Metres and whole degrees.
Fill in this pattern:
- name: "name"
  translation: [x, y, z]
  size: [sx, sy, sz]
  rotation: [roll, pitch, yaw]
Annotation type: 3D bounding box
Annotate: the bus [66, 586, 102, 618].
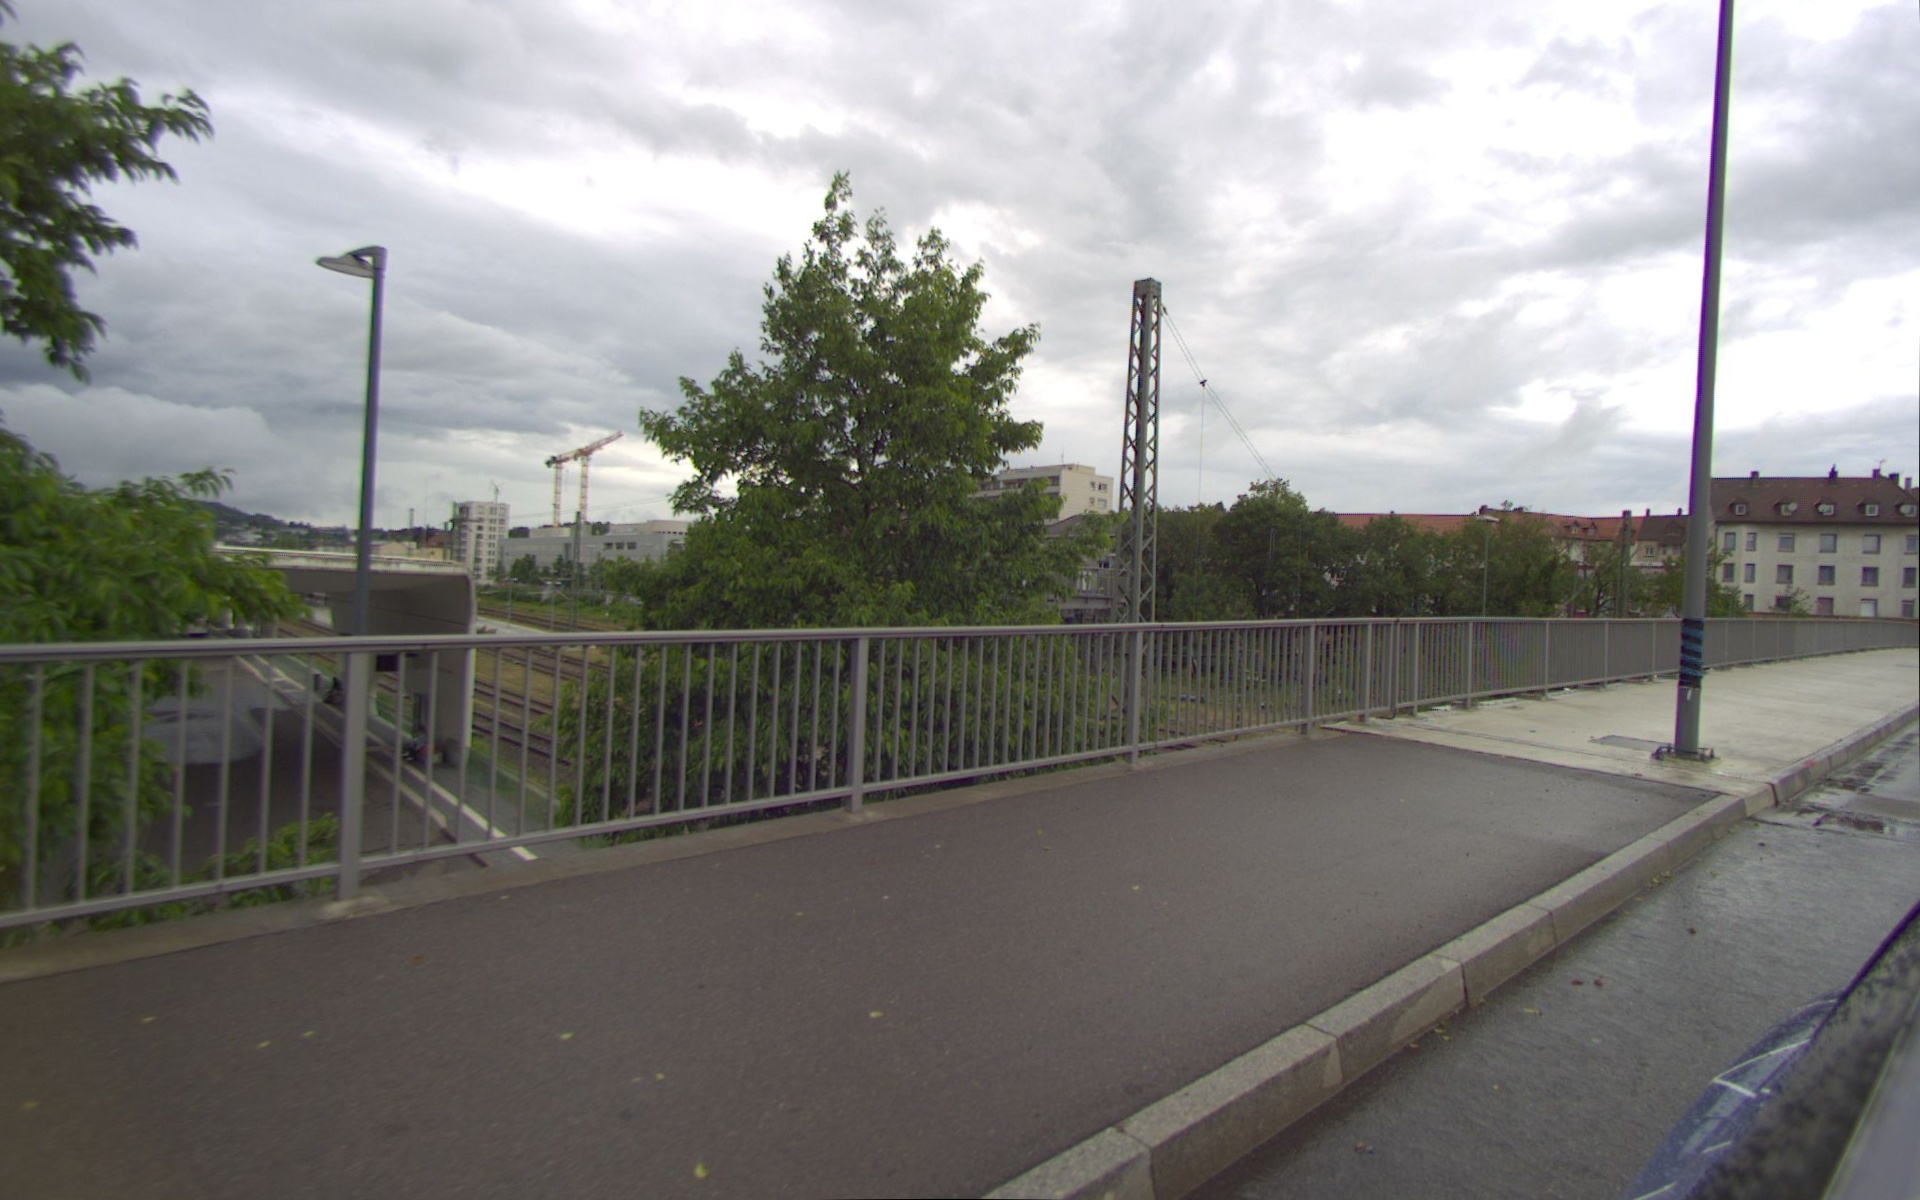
- name: "bus"
  translation: [-95.691, 0.199, 110.631]
  size: [2.561, 3.251, 6.987]
  rotation: [2, 0, -39]
